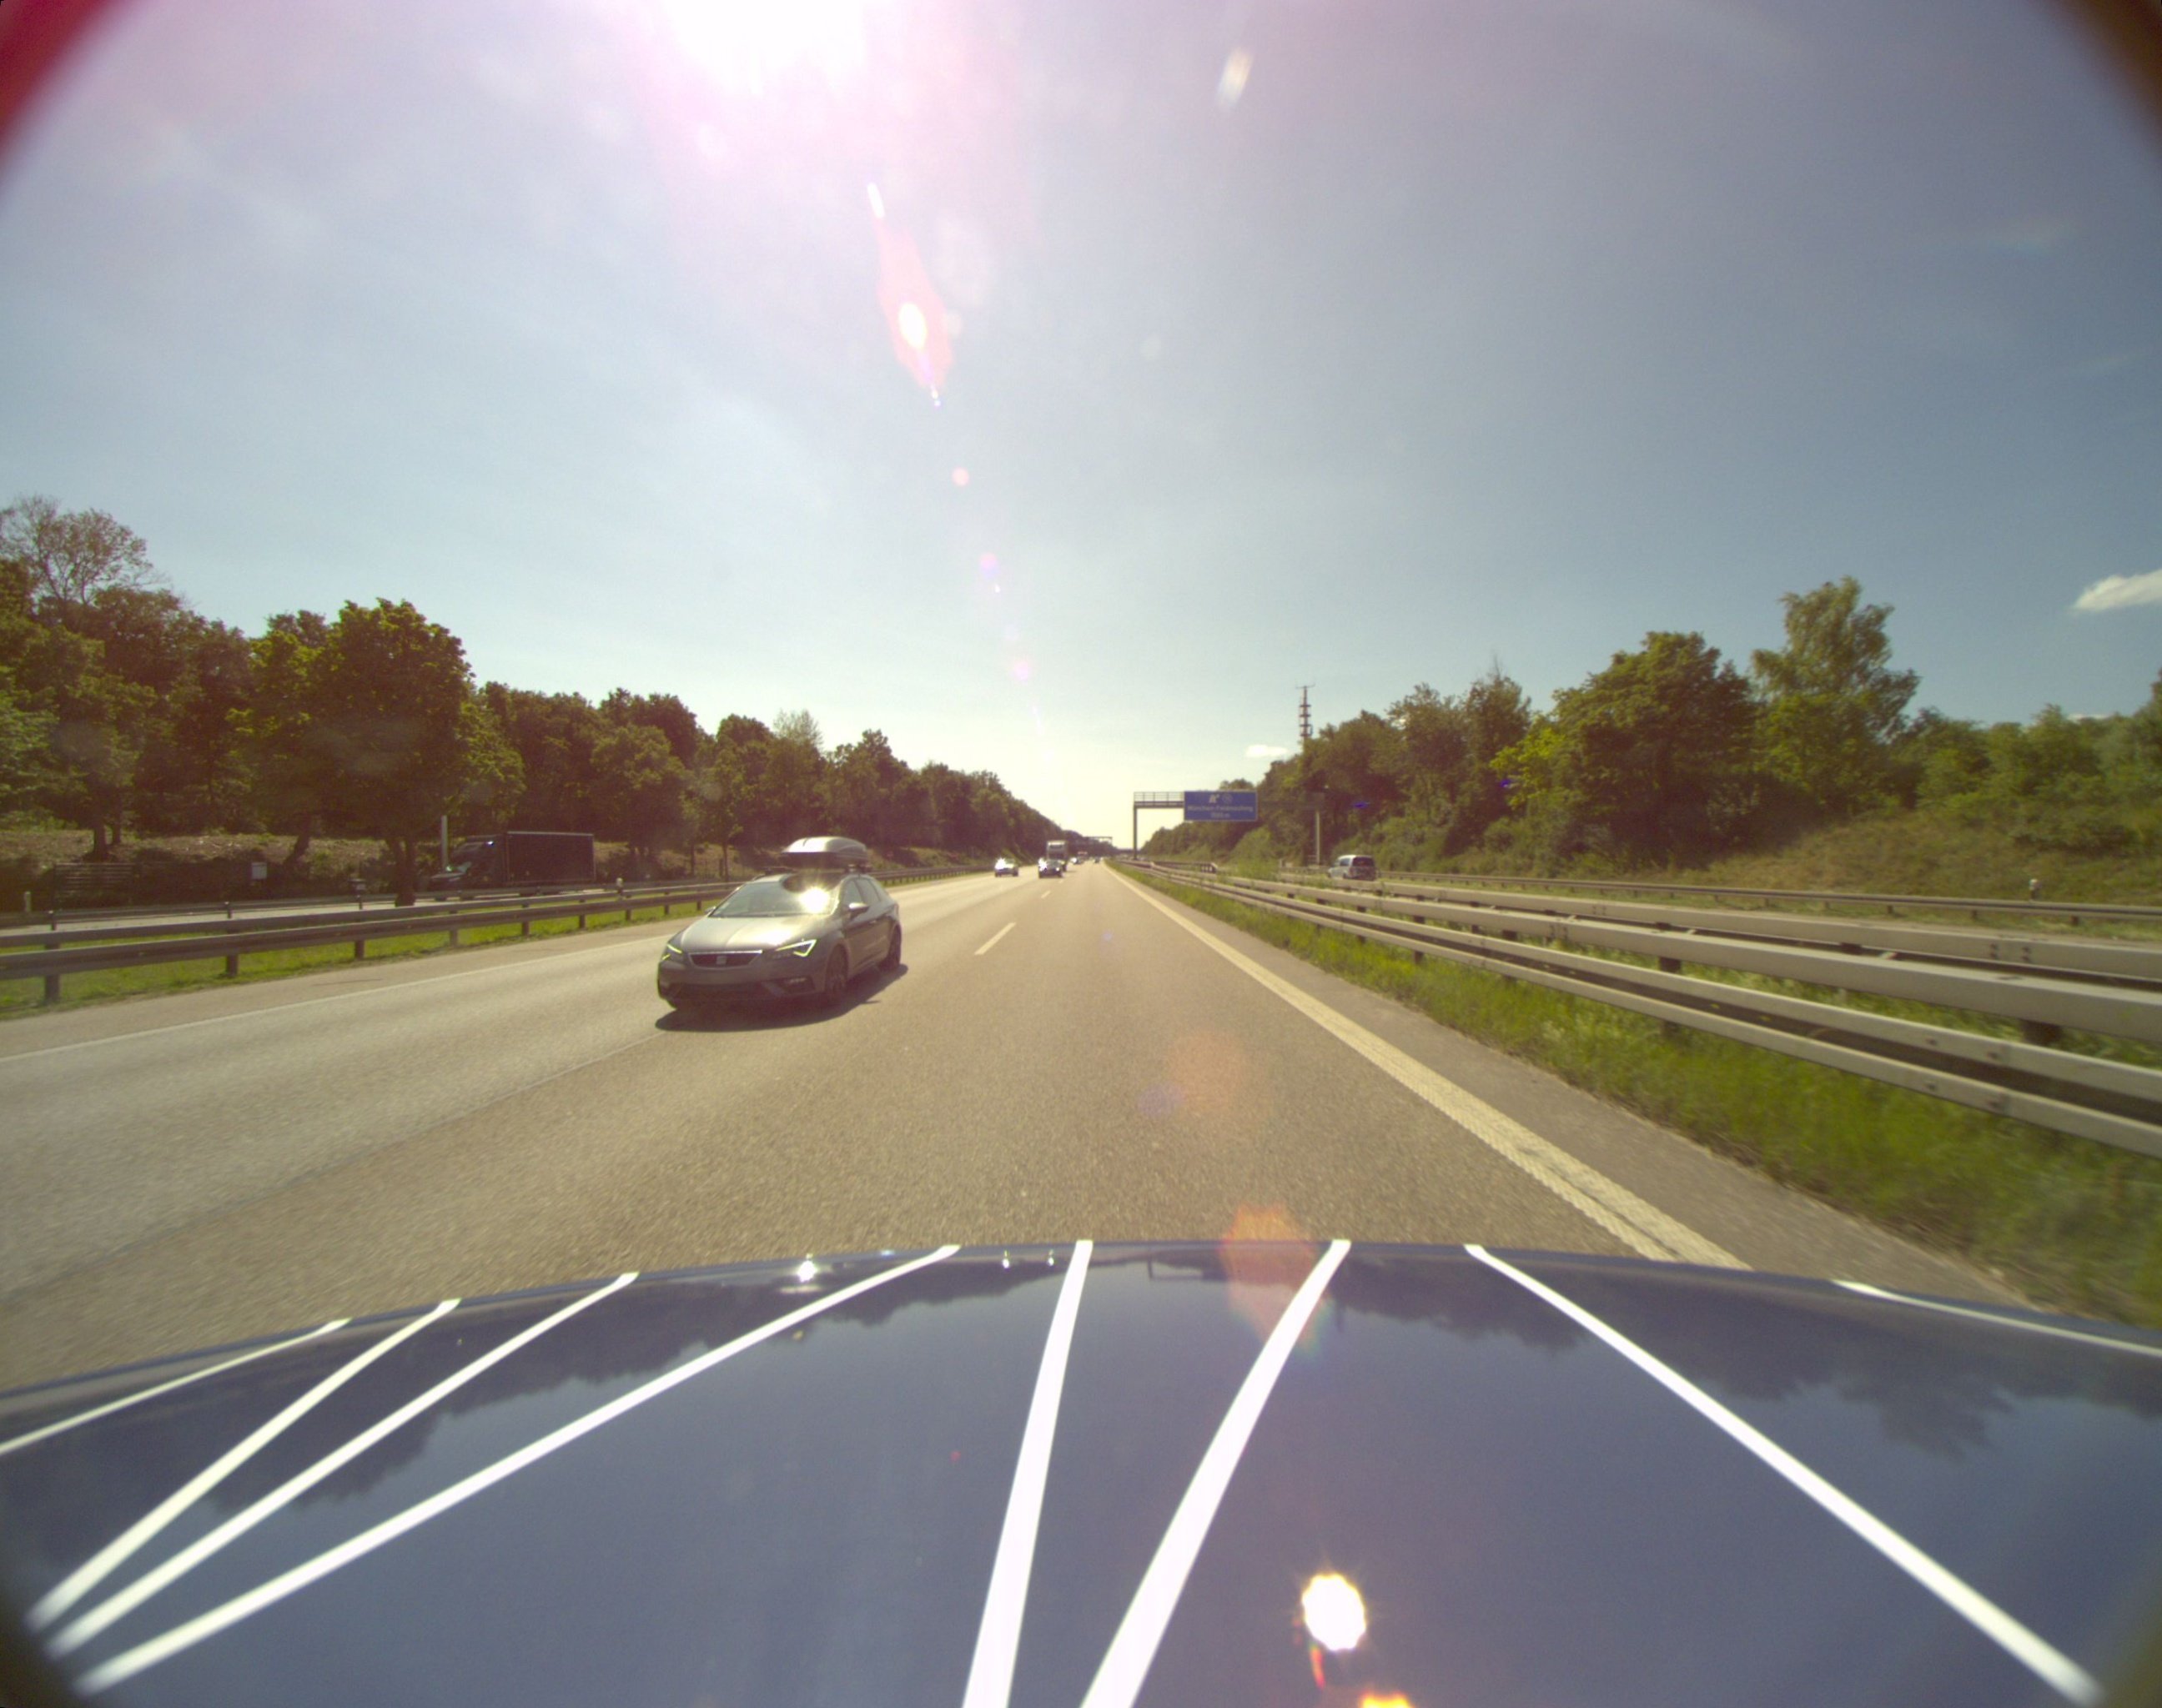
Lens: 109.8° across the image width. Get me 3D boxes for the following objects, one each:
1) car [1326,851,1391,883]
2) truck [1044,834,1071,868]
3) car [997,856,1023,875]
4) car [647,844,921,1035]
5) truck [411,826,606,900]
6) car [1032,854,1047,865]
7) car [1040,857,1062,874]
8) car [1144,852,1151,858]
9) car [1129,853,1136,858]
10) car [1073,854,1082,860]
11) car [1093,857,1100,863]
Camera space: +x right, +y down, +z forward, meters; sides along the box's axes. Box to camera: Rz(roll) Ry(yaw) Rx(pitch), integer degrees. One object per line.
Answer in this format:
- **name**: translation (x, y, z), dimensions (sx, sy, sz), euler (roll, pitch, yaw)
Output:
- **car**: translation (17.441, 0.777, 48.050), dimensions (1.999, 1.824, 5.332), euler (2, 0, -1)
- **truck**: translation (-2.590, -0.333, 86.479), dimensions (2.676, 3.660, 6.484), euler (-1, 0, 2)
- **car**: translation (-6.483, 1.023, 69.614), dimensions (1.847, 1.559, 4.036), euler (-2, 0, 2)
- **car**: translation (-3.409, 0.842, 9.841), dimensions (1.669, 1.865, 4.827), euler (0, 0, 0)
- **truck**: translation (-33.528, 0.478, 45.210), dimensions (3.290, 3.924, 9.359), euler (0, 0, 12)
- **car**: translation (-6.658, 0.909, 122.697), dimensions (1.924, 1.659, 4.688), euler (-2, 0, 4)
- **car**: translation (-2.353, 0.905, 60.497), dimensions (1.537, 1.265, 2.770), euler (-1, 0, 2)
- **car**: translation (18.843, 0.262, 214.644), dimensions (1.669, 1.455, 3.883), euler (2, 0, 3)
- **car**: translation (17.761, 0.404, 262.792), dimensions (1.883, 1.601, 5.310), euler (1, 0, 1)
- **car**: translation (-0.710, 0.584, 166.011), dimensions (1.831, 1.346, 3.680), euler (0, 0, 2)
- **car**: translation (3.740, 1.468, 182.262), dimensions (1.591, 1.291, 3.383), euler (0, 0, 2)
